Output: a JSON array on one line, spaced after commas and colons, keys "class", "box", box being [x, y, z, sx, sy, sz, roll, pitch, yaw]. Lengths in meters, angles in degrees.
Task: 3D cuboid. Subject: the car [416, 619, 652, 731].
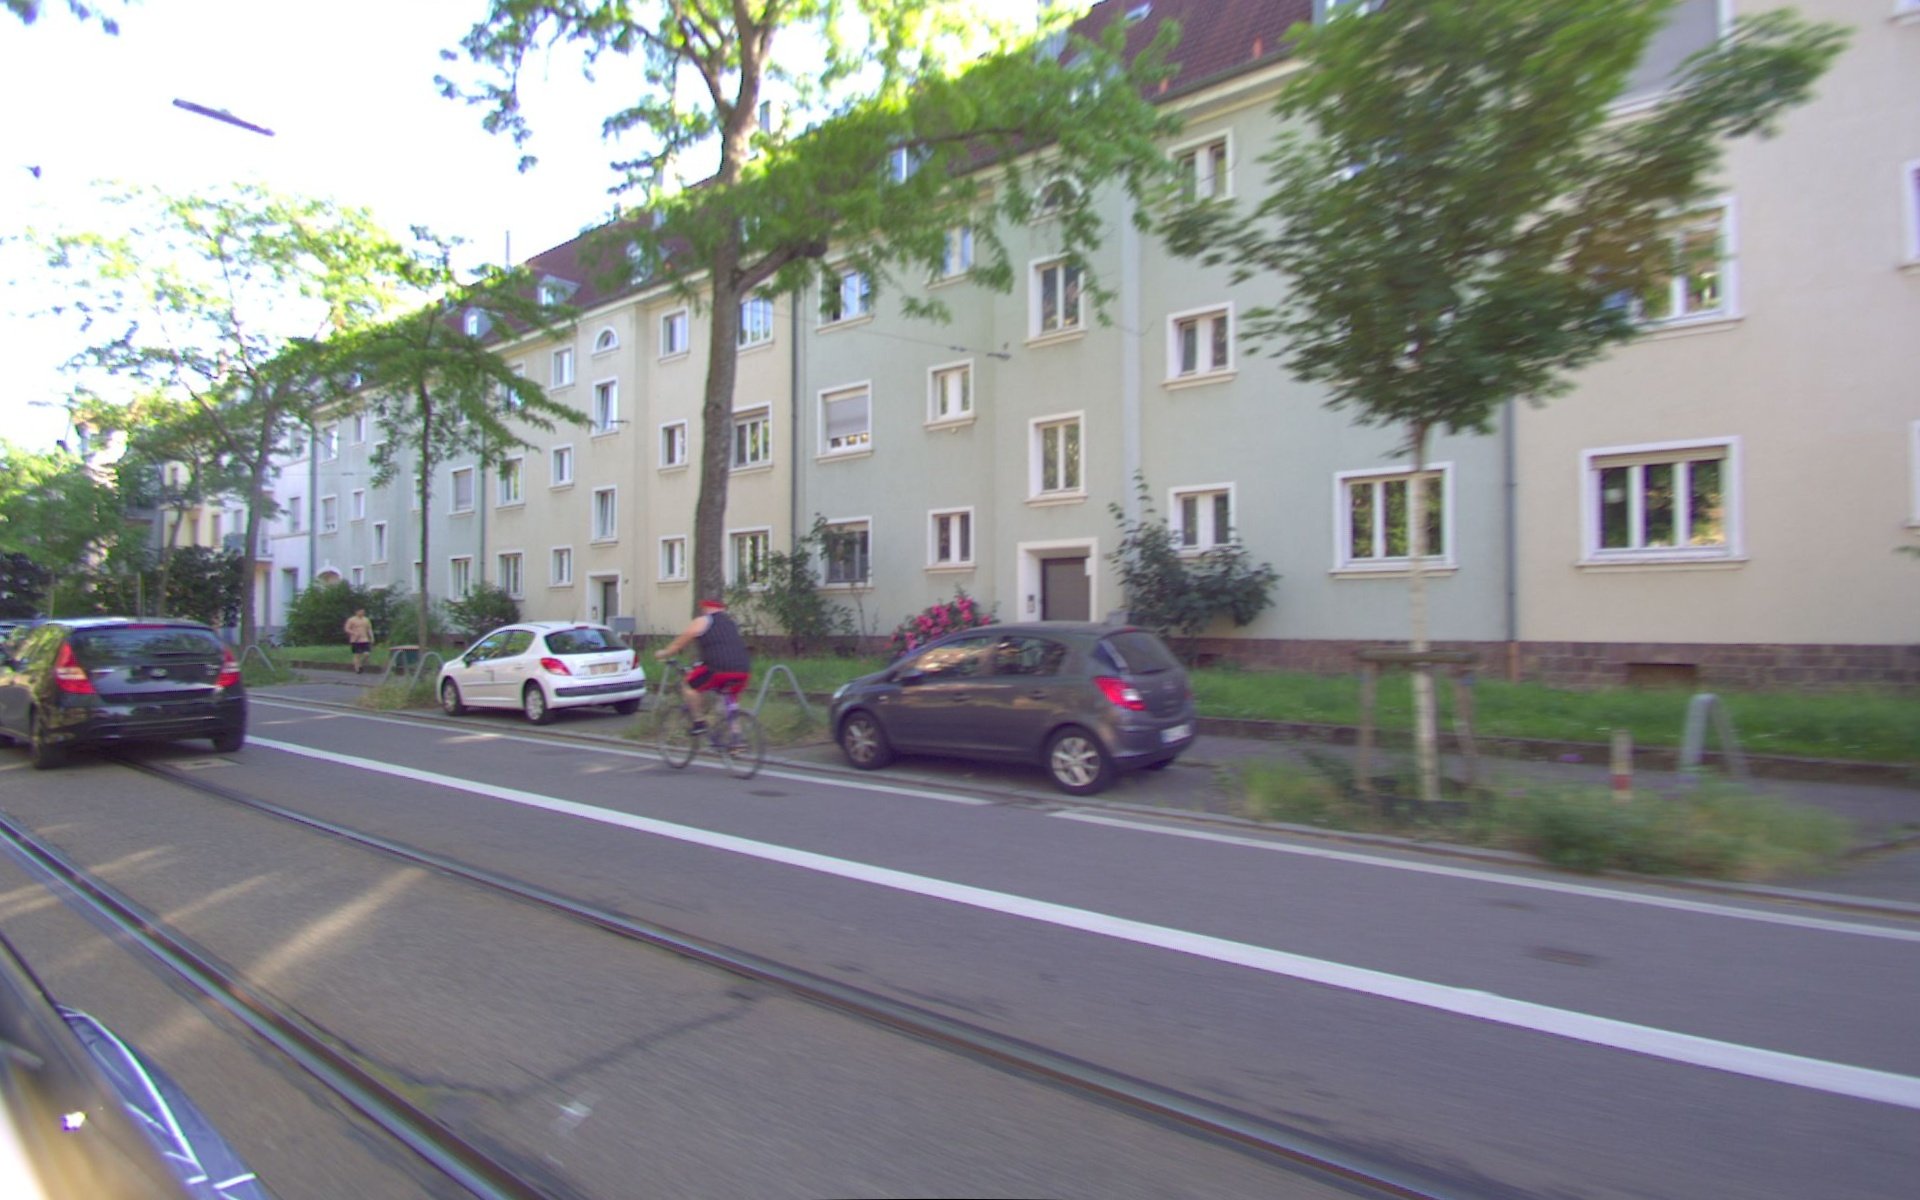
[{"class": "car", "box": [-6.807, 1.098, 16.003, 4.074, 1.496, 1.686, -2, 0, 39]}]

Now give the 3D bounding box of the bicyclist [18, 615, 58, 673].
[{"class": "bicyclist", "box": [-26.965, 1.294, 29.588, 0.939, 1.652, 0.620, -2, -5, 39]}]

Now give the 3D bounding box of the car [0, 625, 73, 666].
[{"class": "car", "box": [-37.078, 1.774, 40.358, 4.432, 1.522, 1.741, -2, -1, 38]}]

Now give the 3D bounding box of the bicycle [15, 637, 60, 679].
[{"class": "bicycle", "box": [-26.949, 1.687, 29.545, 1.911, 1.186, 0.620, -1, -5, 39]}]

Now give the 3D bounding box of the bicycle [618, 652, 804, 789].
[{"class": "bicycle", "box": [-2.441, 1.117, 9.814, 1.911, 1.186, 0.687, -1, -5, 39]}]

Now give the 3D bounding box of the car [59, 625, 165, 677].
[{"class": "car", "box": [-26.869, 1.565, 32.015, 4.201, 1.496, 1.799, -2, -1, 39]}]

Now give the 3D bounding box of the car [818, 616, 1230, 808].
[{"class": "car", "box": [0.537, 0.951, 9.986, 3.754, 1.496, 1.671, -1, 0, 38]}]

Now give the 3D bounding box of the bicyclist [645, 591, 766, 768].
[{"class": "bicyclist", "box": [-2.479, 0.760, 9.876, 0.864, 1.619, 0.703, -2, -5, 38]}]

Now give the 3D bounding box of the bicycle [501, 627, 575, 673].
[{"class": "bicycle", "box": [-11.721, 1.362, 28.160, 0.521, 1.186, 1.890, -1, 0, 36]}]

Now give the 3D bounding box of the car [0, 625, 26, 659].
[{"class": "car", "box": [-45.304, 1.954, 47.229, 4.364, 1.522, 1.800, -2, -1, 38]}]

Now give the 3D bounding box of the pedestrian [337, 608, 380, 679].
[{"class": "pedestrian", "box": [-15.691, 1.138, 26.407, 0.812, 1.815, 0.685, -2, -3, 38]}]

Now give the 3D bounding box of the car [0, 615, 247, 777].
[{"class": "car", "box": [-9.641, 0.937, 11.244, 4.065, 1.482, 1.683, -1, -2, 38]}]
